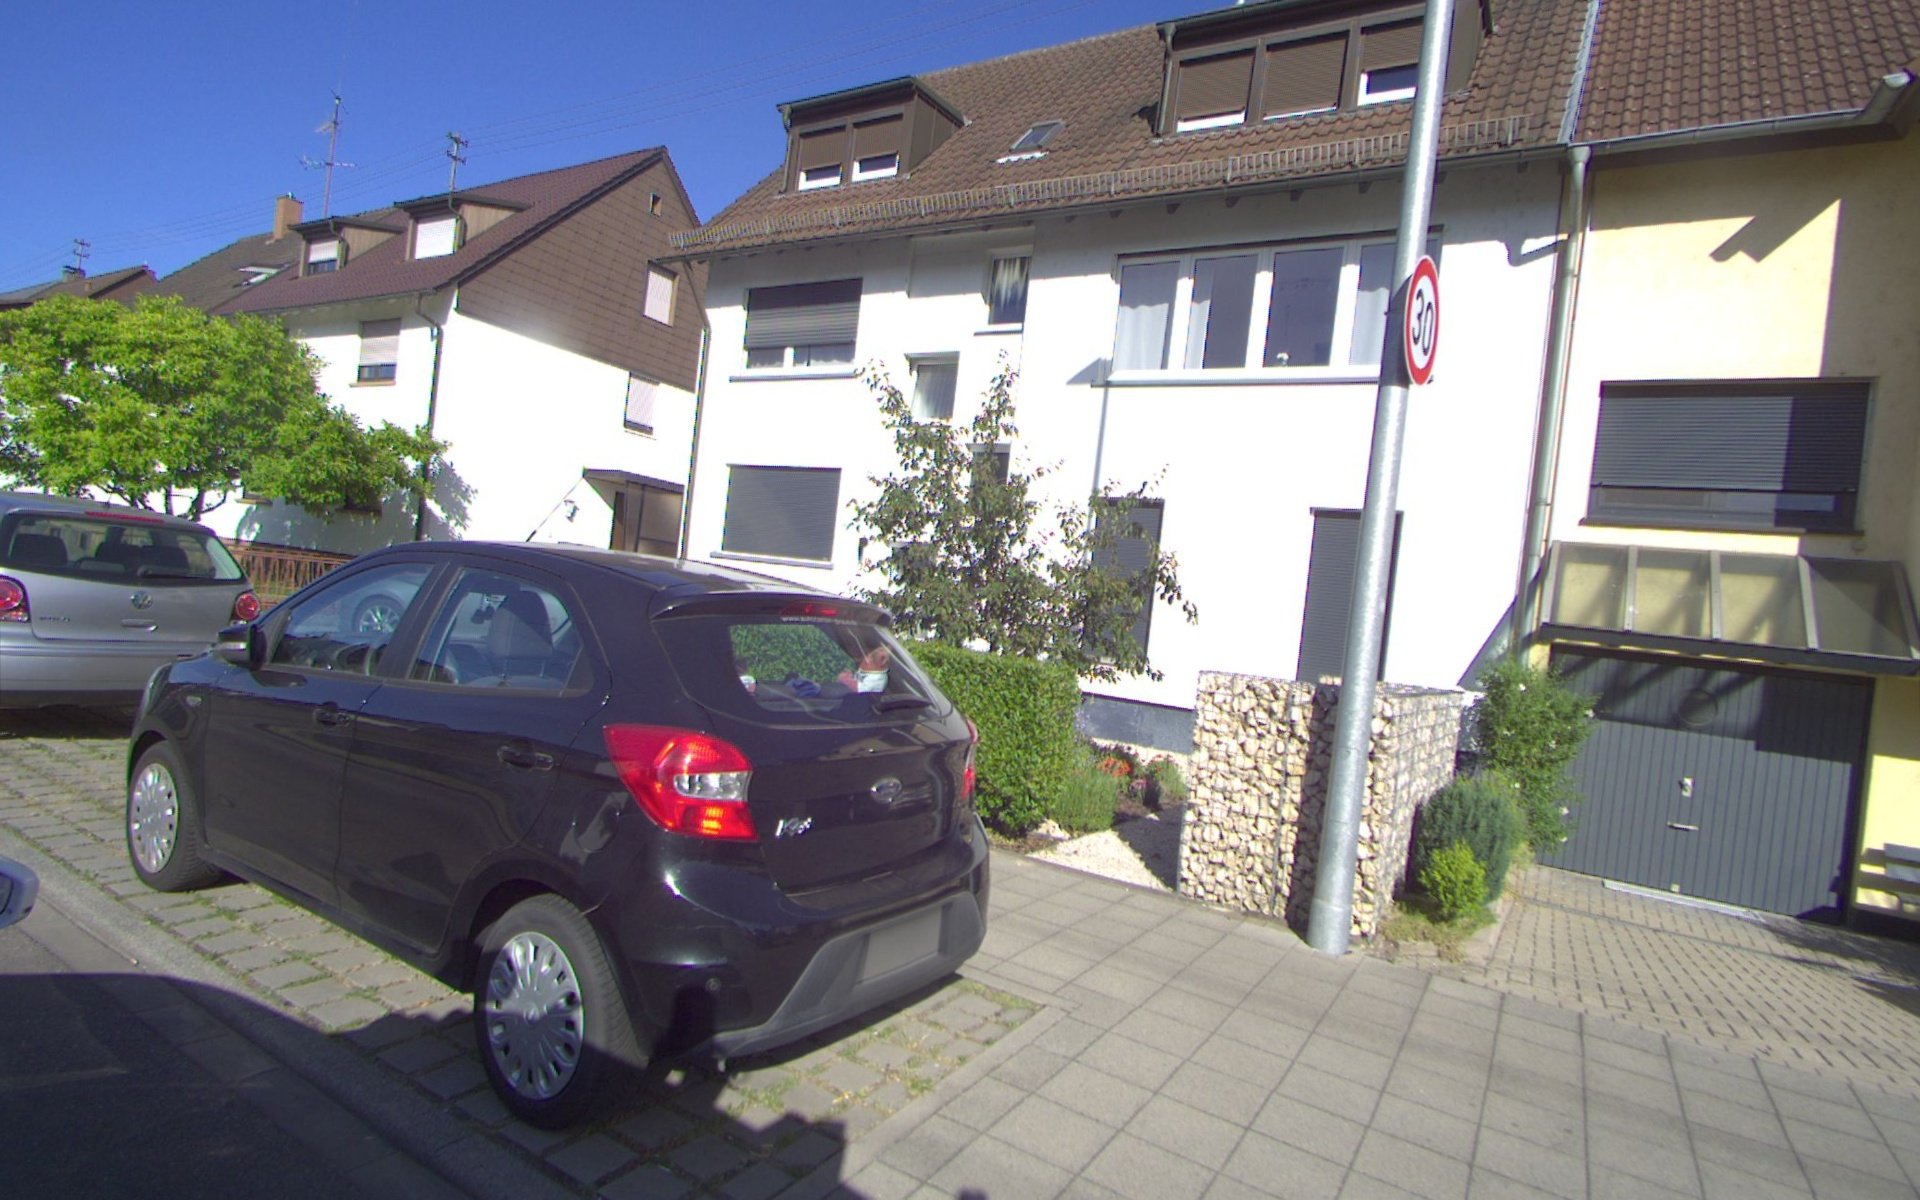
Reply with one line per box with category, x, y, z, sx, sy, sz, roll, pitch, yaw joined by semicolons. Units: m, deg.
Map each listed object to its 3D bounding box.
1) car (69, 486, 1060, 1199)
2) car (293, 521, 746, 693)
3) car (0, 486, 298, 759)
car;-1.733;0.515;3.942;3.773;1.568;1.666;7;3;33
car;-5.409;0.061;12.715;4.789;1.464;2.000;7;1;6
car;-6.777;-0.038;7.154;4.374;1.494;1.617;6;0;31
